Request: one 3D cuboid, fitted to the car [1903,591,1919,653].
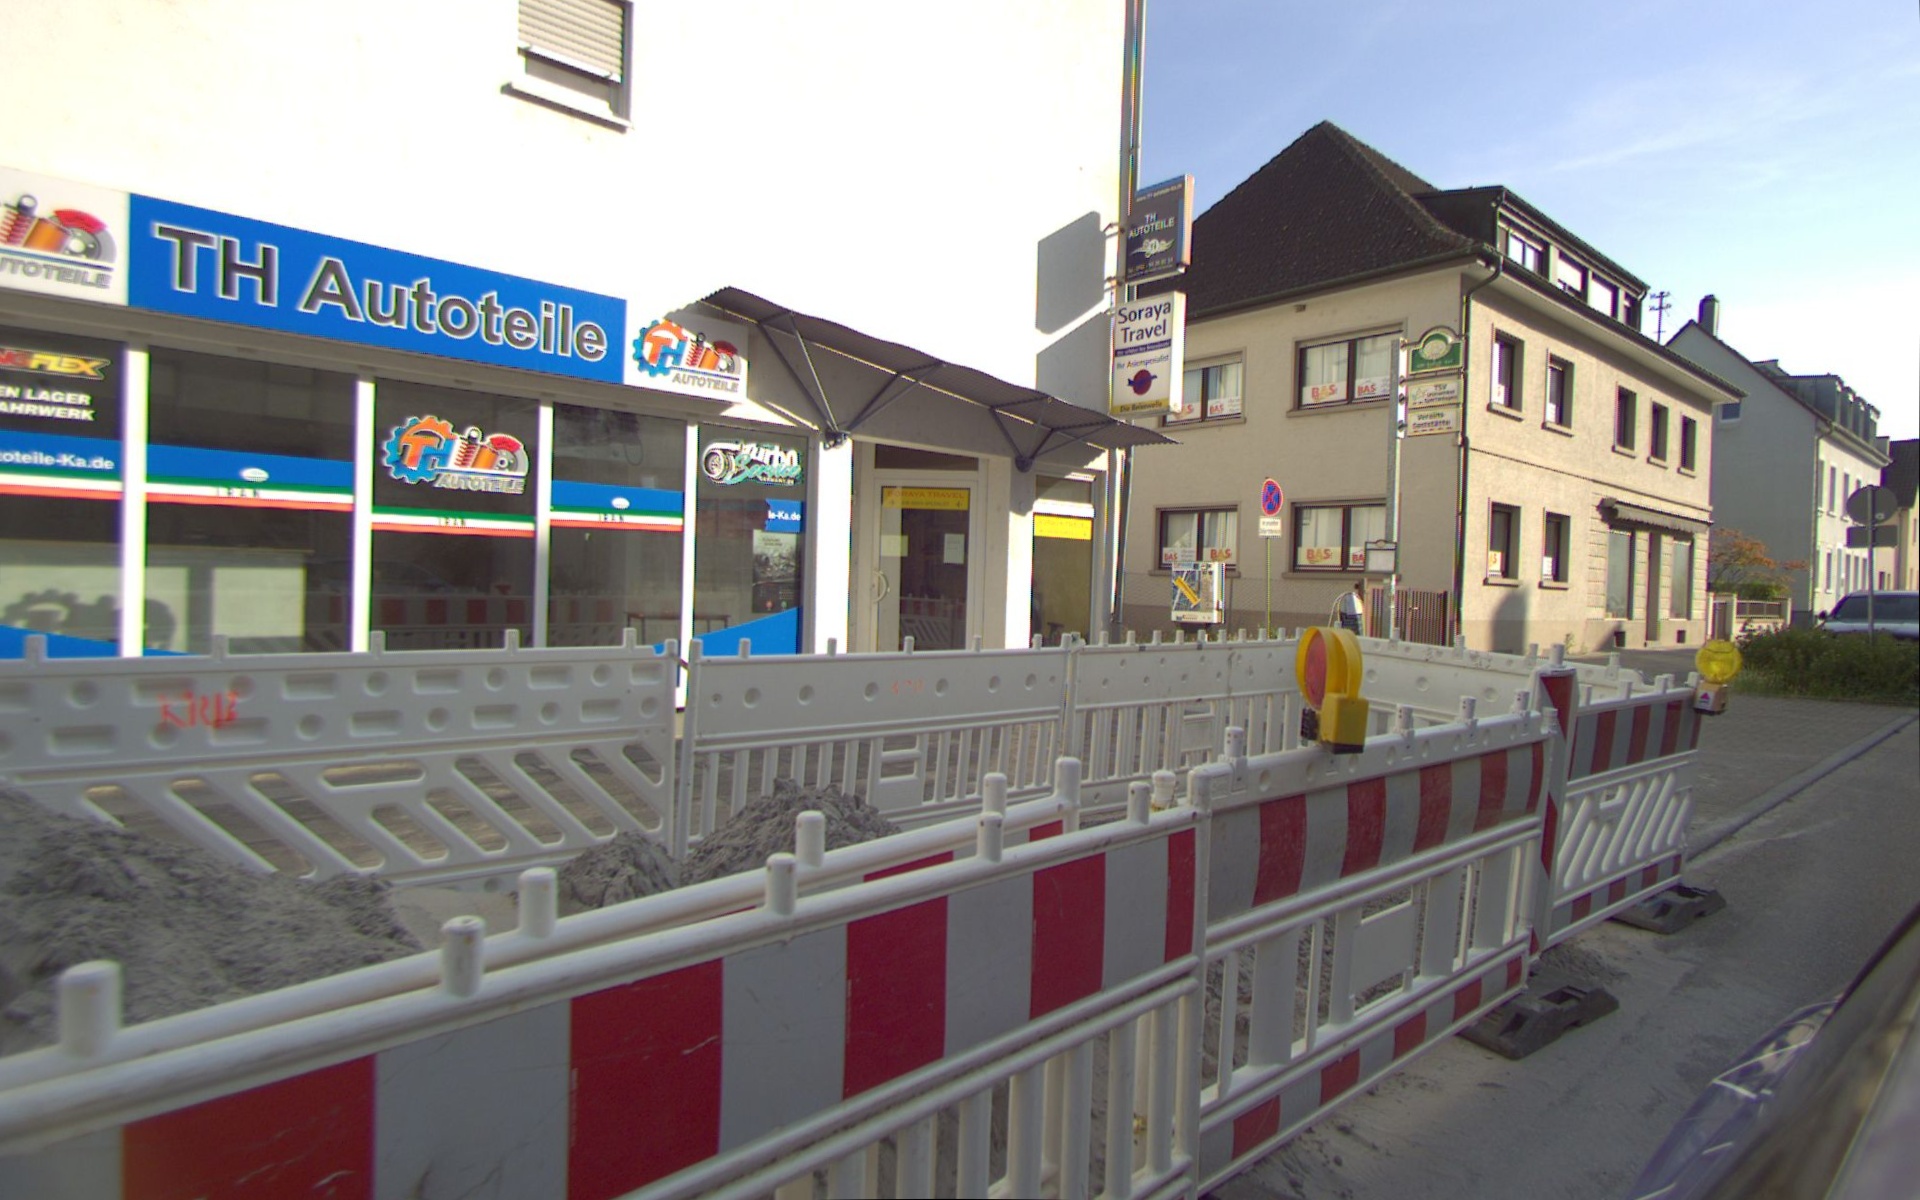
[{"bbox_3d":[24.645,0.545,24.719,4.528,1.437,1.834,0,2,-41],"label":"car"}]

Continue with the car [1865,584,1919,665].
[{"bbox_3d":[20.780,0.510,21.496,4.243,1.579,1.833,0,2,-42],"label":"car"}]

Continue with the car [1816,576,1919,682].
[{"bbox_3d":[16.780,0.465,17.874,4.384,1.650,1.834,0,2,-41],"label":"car"}]
